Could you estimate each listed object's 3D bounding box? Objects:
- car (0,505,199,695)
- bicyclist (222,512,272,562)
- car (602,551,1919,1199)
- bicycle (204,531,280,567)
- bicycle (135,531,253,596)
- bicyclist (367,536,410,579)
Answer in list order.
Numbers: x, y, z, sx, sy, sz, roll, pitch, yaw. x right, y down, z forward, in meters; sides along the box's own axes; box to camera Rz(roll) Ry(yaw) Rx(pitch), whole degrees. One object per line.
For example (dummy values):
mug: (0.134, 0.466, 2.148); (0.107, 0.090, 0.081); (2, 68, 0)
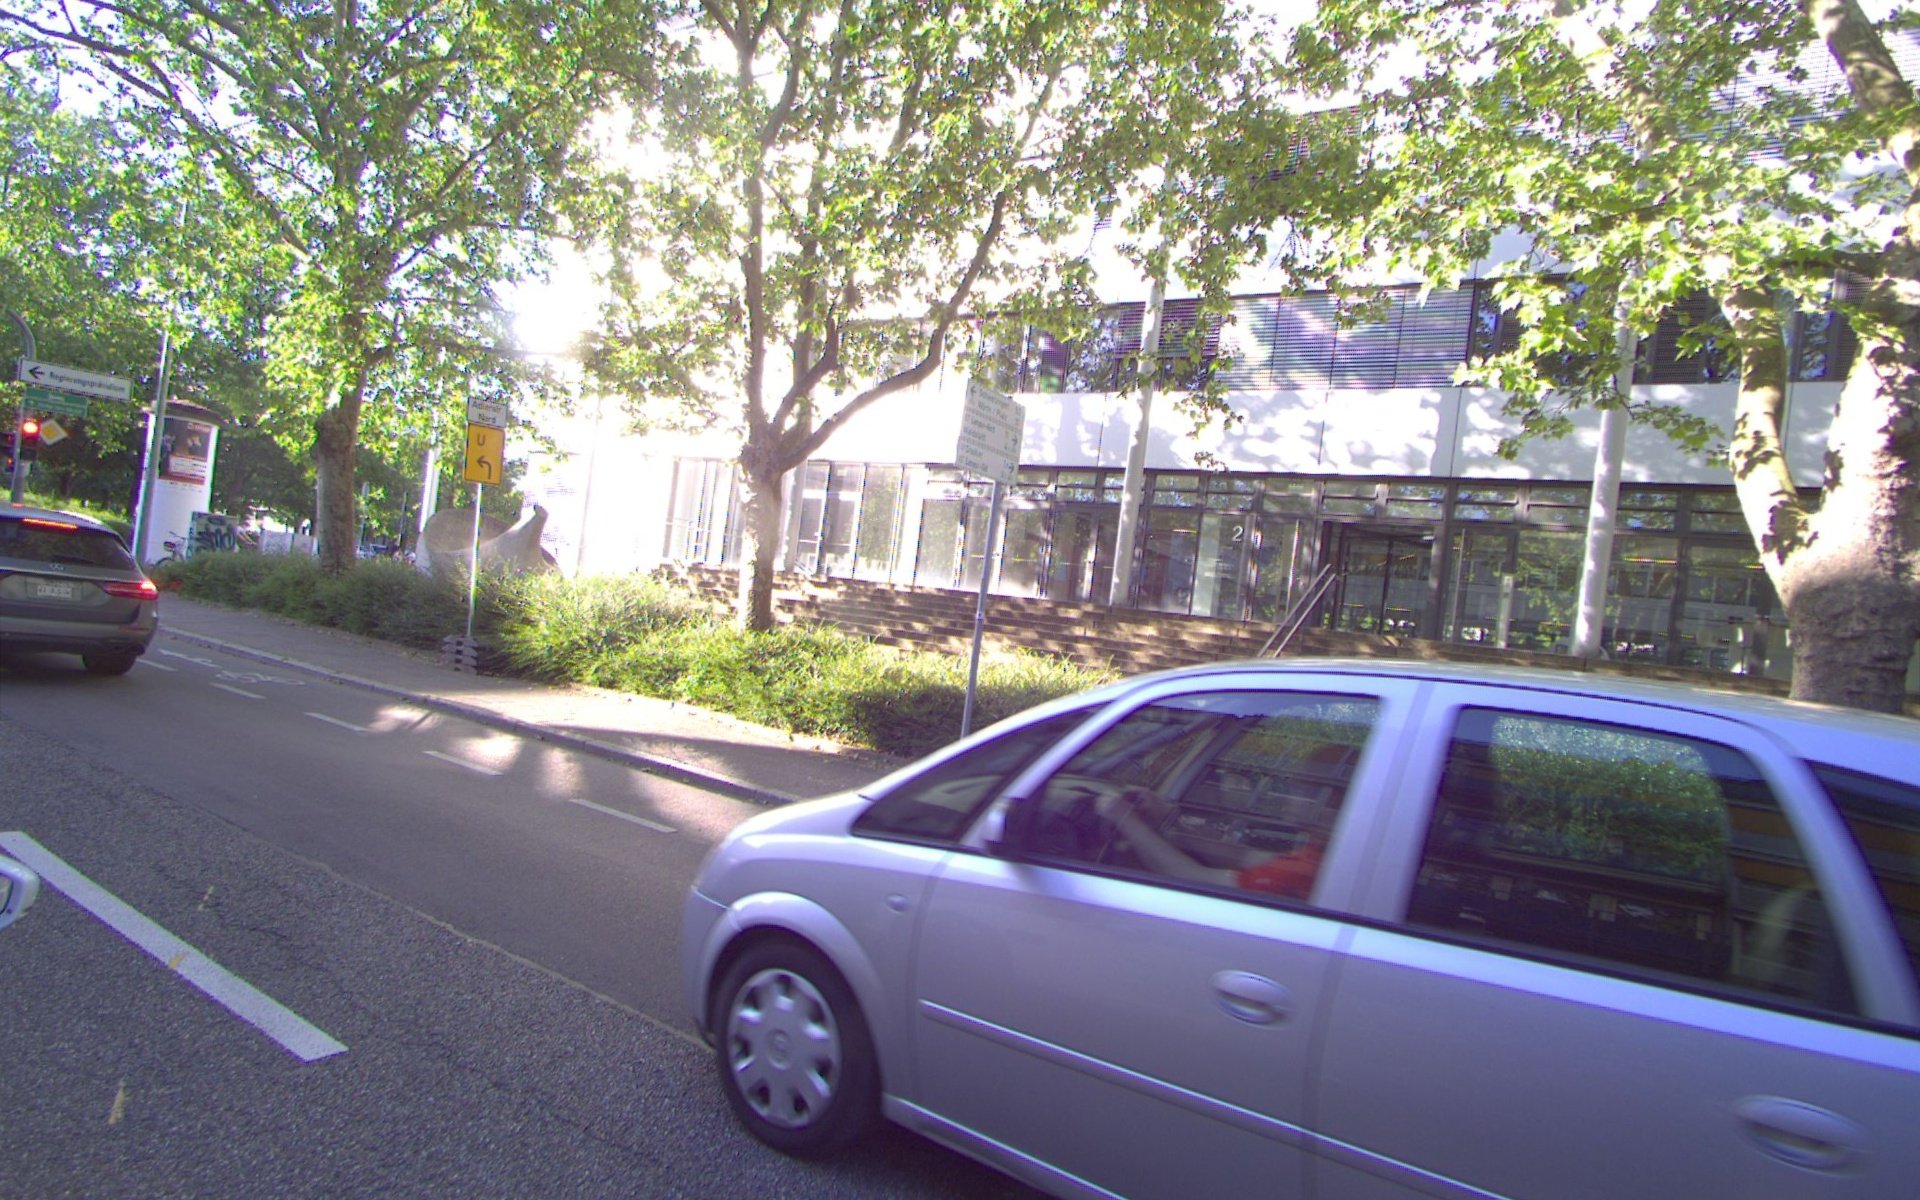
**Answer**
car: (-9.524, -0.203, 9.634); (4.592, 1.481, 1.918); (7, -3, 32)
bicyclist: (-24.310, -2.140, 34.297); (0.706, 1.537, 1.075); (7, 0, 36)
car: (1.009, 0.916, 2.796); (3.797, 1.622, 1.703); (7, -1, 34)
bicycle: (-24.406, -1.720, 34.230); (0.714, 0.893, 1.895); (7, -2, 35)
bicycle: (-15.924, -0.736, 20.954); (0.502, 1.110, 1.806); (7, -1, 34)
bicyclist: (-21.199, -1.563, 37.324); (0.647, 1.419, 1.103); (7, -1, 36)
